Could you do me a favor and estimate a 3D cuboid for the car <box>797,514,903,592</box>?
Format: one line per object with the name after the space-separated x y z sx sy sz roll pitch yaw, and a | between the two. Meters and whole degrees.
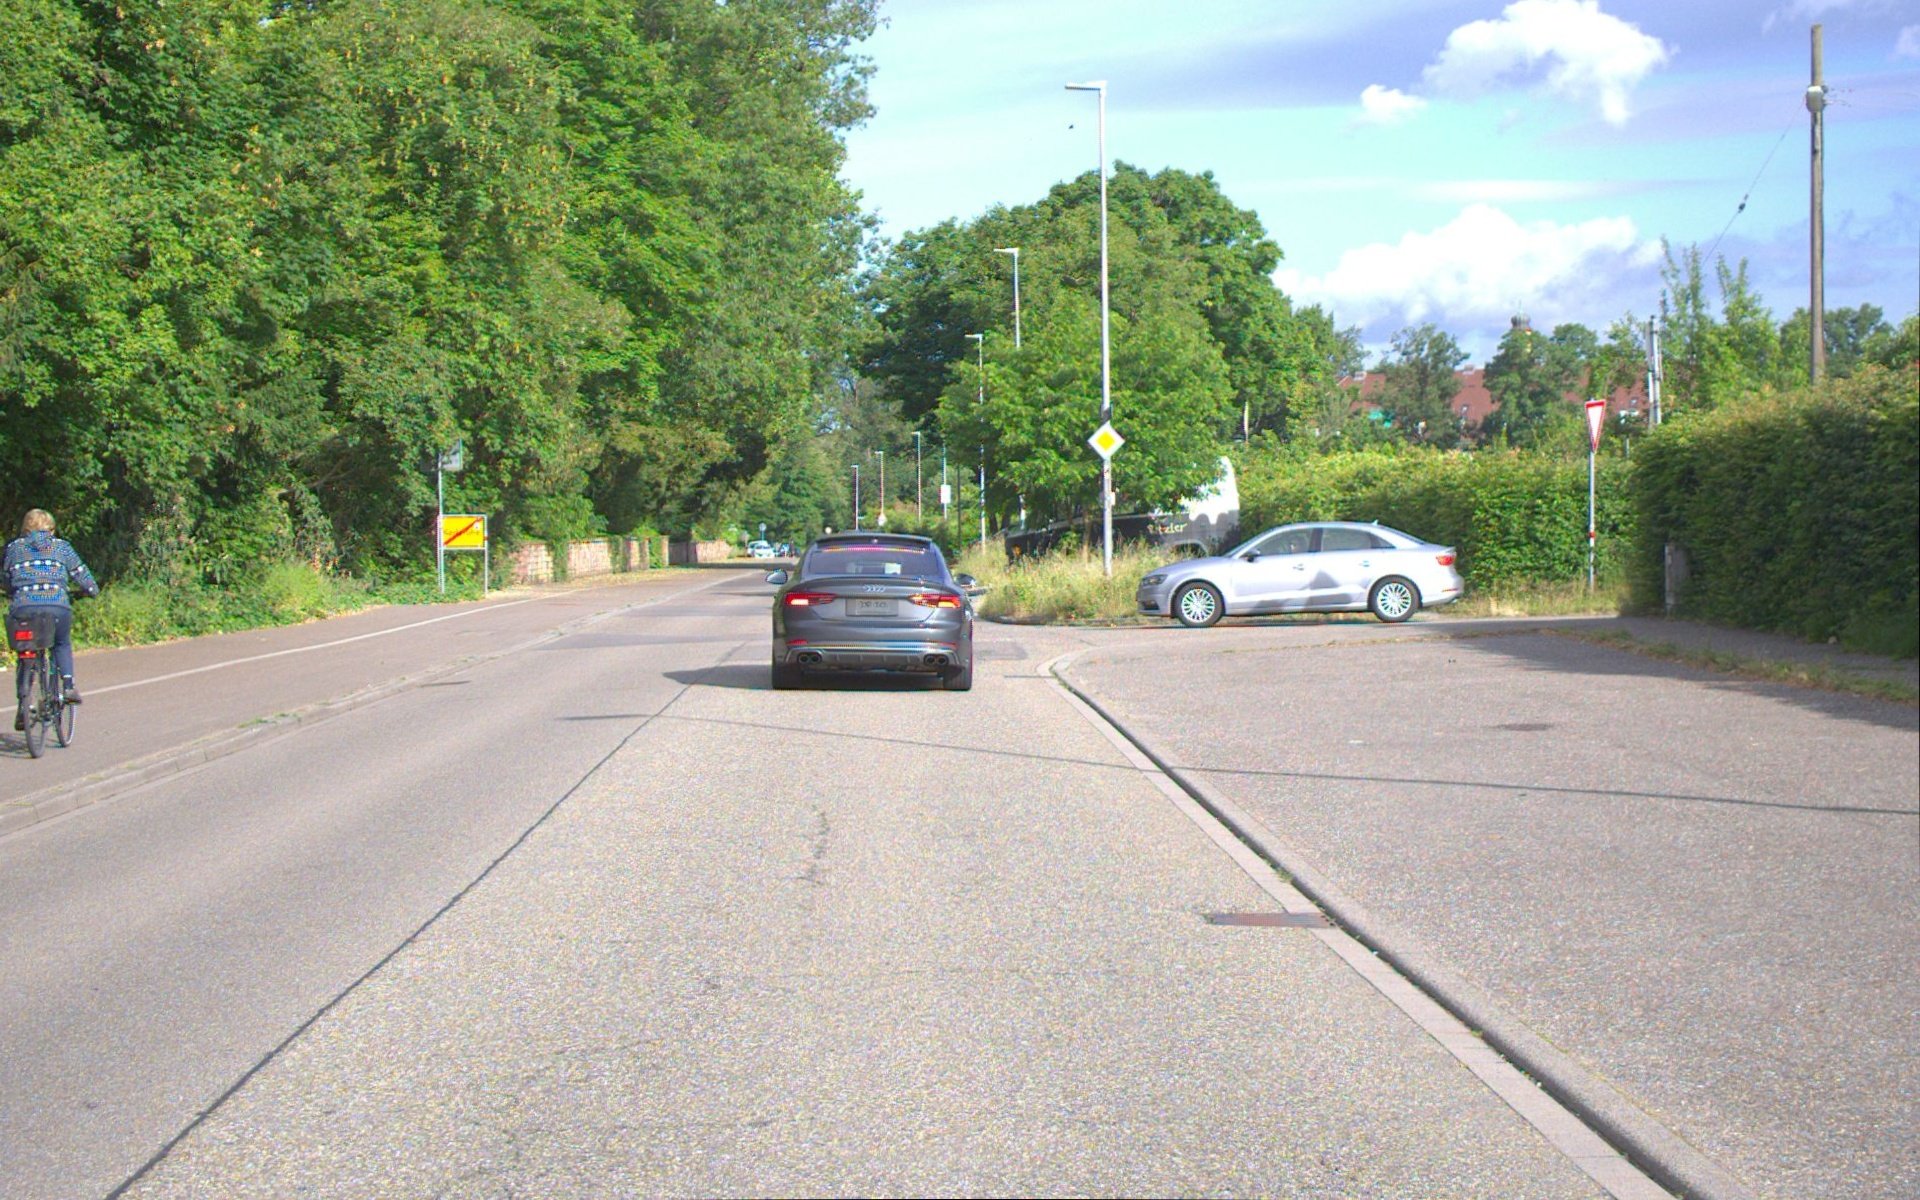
-2.067 -0.883 64.259 1.886 1.367 4.055 -1 1 -2 | car

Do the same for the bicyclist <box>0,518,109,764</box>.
-6.305 0.272 23.806 0.608 1.671 0.884 0 1 -1 | bicyclist

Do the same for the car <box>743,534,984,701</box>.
-0.824 0.107 32.030 1.966 1.429 4.336 0 1 2 | car

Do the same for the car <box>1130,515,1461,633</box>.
4.565 -0.361 46.891 4.363 1.438 1.932 -2 1 5 | car

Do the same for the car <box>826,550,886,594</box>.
-3.391 -0.930 111.254 1.886 1.367 4.055 -1 1 -2 | car

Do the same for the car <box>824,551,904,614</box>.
-2.366 -0.453 84.130 1.886 1.460 4.055 -1 1 -2 | car

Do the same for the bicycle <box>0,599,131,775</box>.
-6.322 0.571 23.689 0.662 1.093 2.349 1 1 -1 | bicycle

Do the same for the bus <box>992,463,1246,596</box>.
3.522 -1.588 76.800 5.364 2.737 2.069 -2 2 -4 | bus
